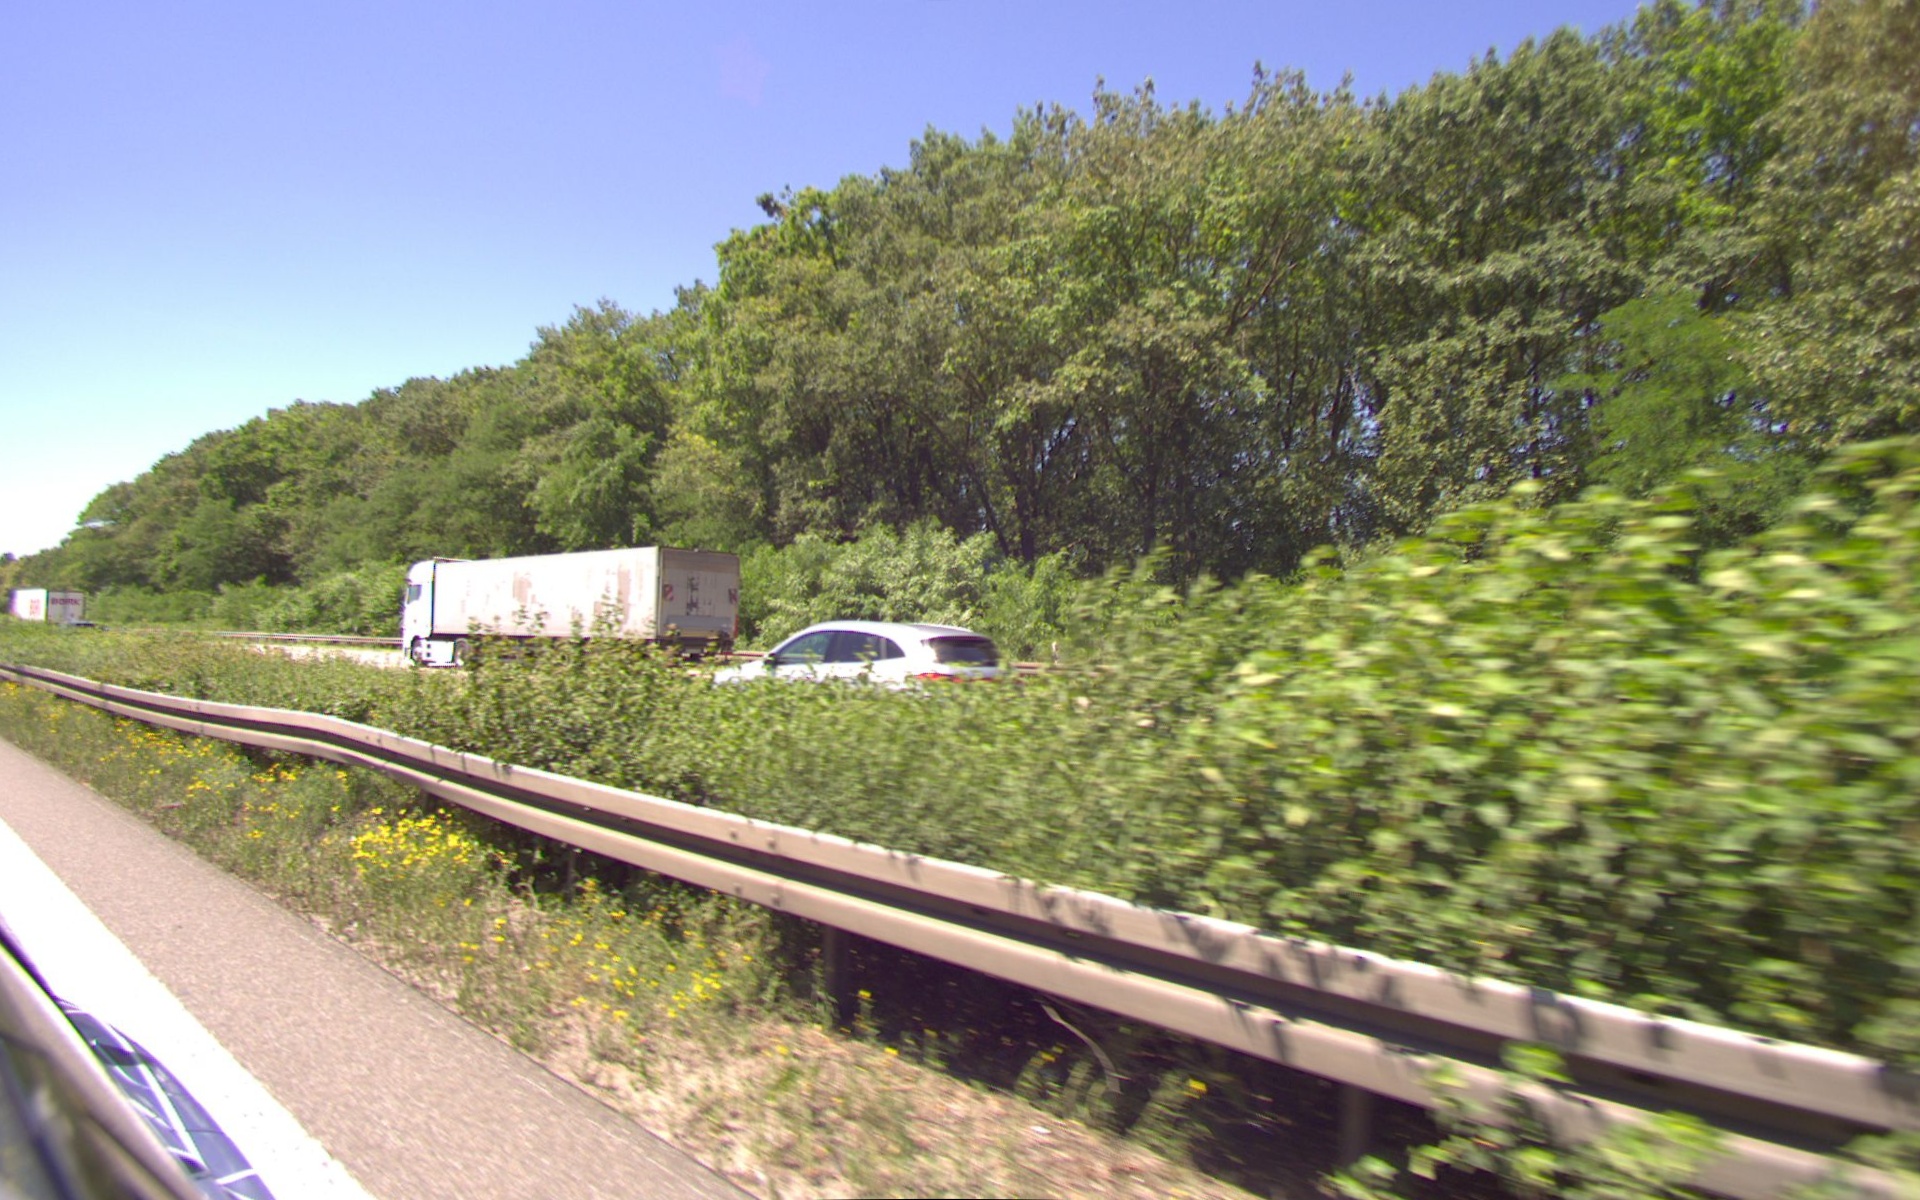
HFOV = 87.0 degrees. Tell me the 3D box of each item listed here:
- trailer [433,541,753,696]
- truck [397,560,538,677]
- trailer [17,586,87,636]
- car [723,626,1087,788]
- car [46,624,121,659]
[{"bbox_3d":[-11.795,0.563,31.083,13.632,3.907,2.880,-1,-1,40],"label":"trailer"},{"bbox_3d":[-17.528,0.664,35.932,4.881,3.852,2.754,-1,-1,40],"label":"truck"},{"bbox_3d":[-79.608,1.015,88.652,12.906,4.081,2.891,-1,-1,41],"label":"trailer"},{"bbox_3d":[-0.731,1.060,11.563,4.011,1.499,1.793,-1,-1,39],"label":"car"},{"bbox_3d":[-37.809,1.771,43.617,4.011,1.415,1.793,-1,-1,39],"label":"car"}]
